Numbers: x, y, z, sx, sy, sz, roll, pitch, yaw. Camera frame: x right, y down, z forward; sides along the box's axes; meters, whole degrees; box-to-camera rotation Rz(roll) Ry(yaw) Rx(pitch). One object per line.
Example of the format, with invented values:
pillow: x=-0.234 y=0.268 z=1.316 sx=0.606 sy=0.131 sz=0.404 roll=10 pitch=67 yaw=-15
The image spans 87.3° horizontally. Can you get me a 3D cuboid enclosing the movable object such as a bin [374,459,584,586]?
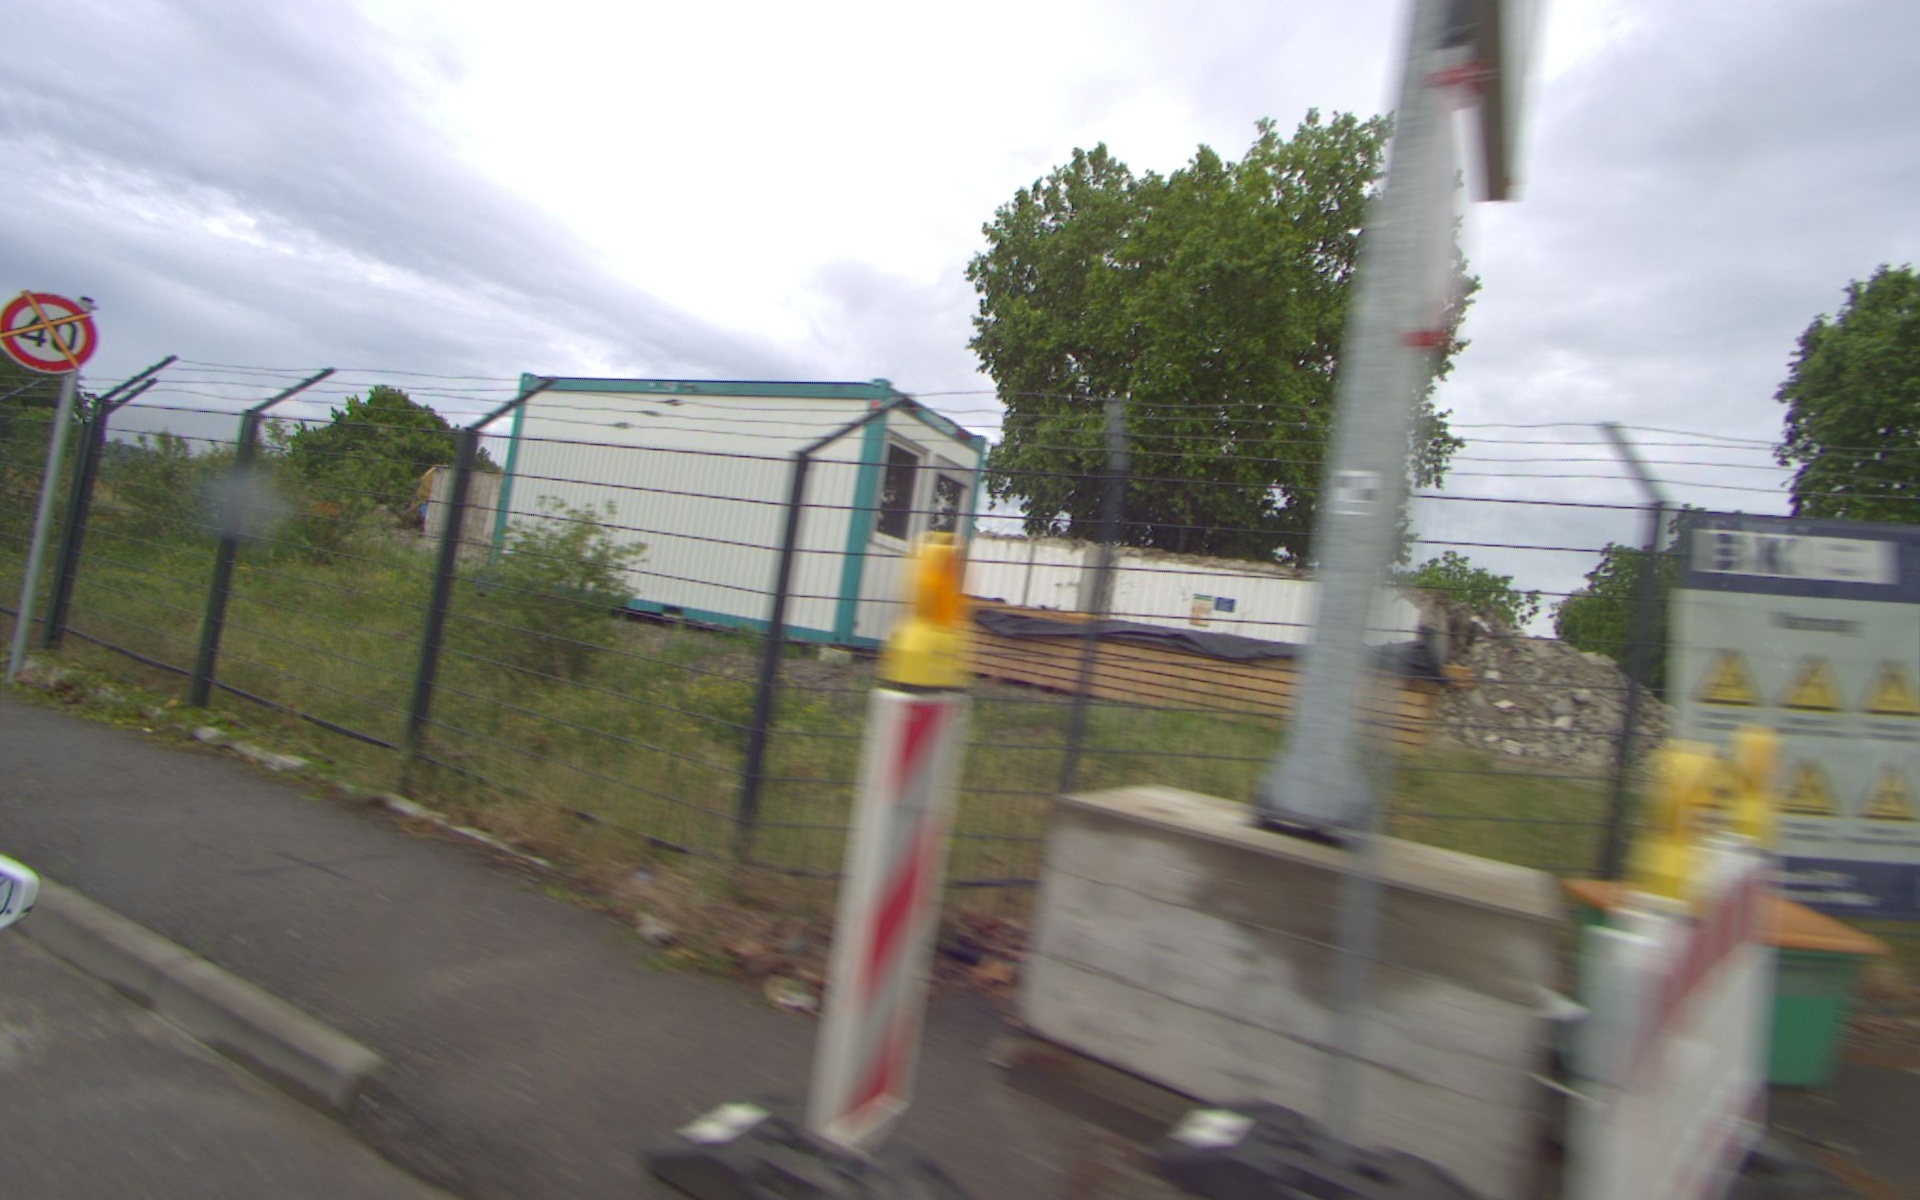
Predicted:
movable object such as a bin: x=-30.459 y=-4.749 z=64.482 sx=3.440 sy=6.063 sz=11.233 roll=6 pitch=-3 yaw=39

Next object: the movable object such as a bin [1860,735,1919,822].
movable object such as a bin: x=26.857 y=5.140 z=29.056 sx=1.095 sy=2.278 sz=1.377 roll=6 pitch=-2 yaw=44
